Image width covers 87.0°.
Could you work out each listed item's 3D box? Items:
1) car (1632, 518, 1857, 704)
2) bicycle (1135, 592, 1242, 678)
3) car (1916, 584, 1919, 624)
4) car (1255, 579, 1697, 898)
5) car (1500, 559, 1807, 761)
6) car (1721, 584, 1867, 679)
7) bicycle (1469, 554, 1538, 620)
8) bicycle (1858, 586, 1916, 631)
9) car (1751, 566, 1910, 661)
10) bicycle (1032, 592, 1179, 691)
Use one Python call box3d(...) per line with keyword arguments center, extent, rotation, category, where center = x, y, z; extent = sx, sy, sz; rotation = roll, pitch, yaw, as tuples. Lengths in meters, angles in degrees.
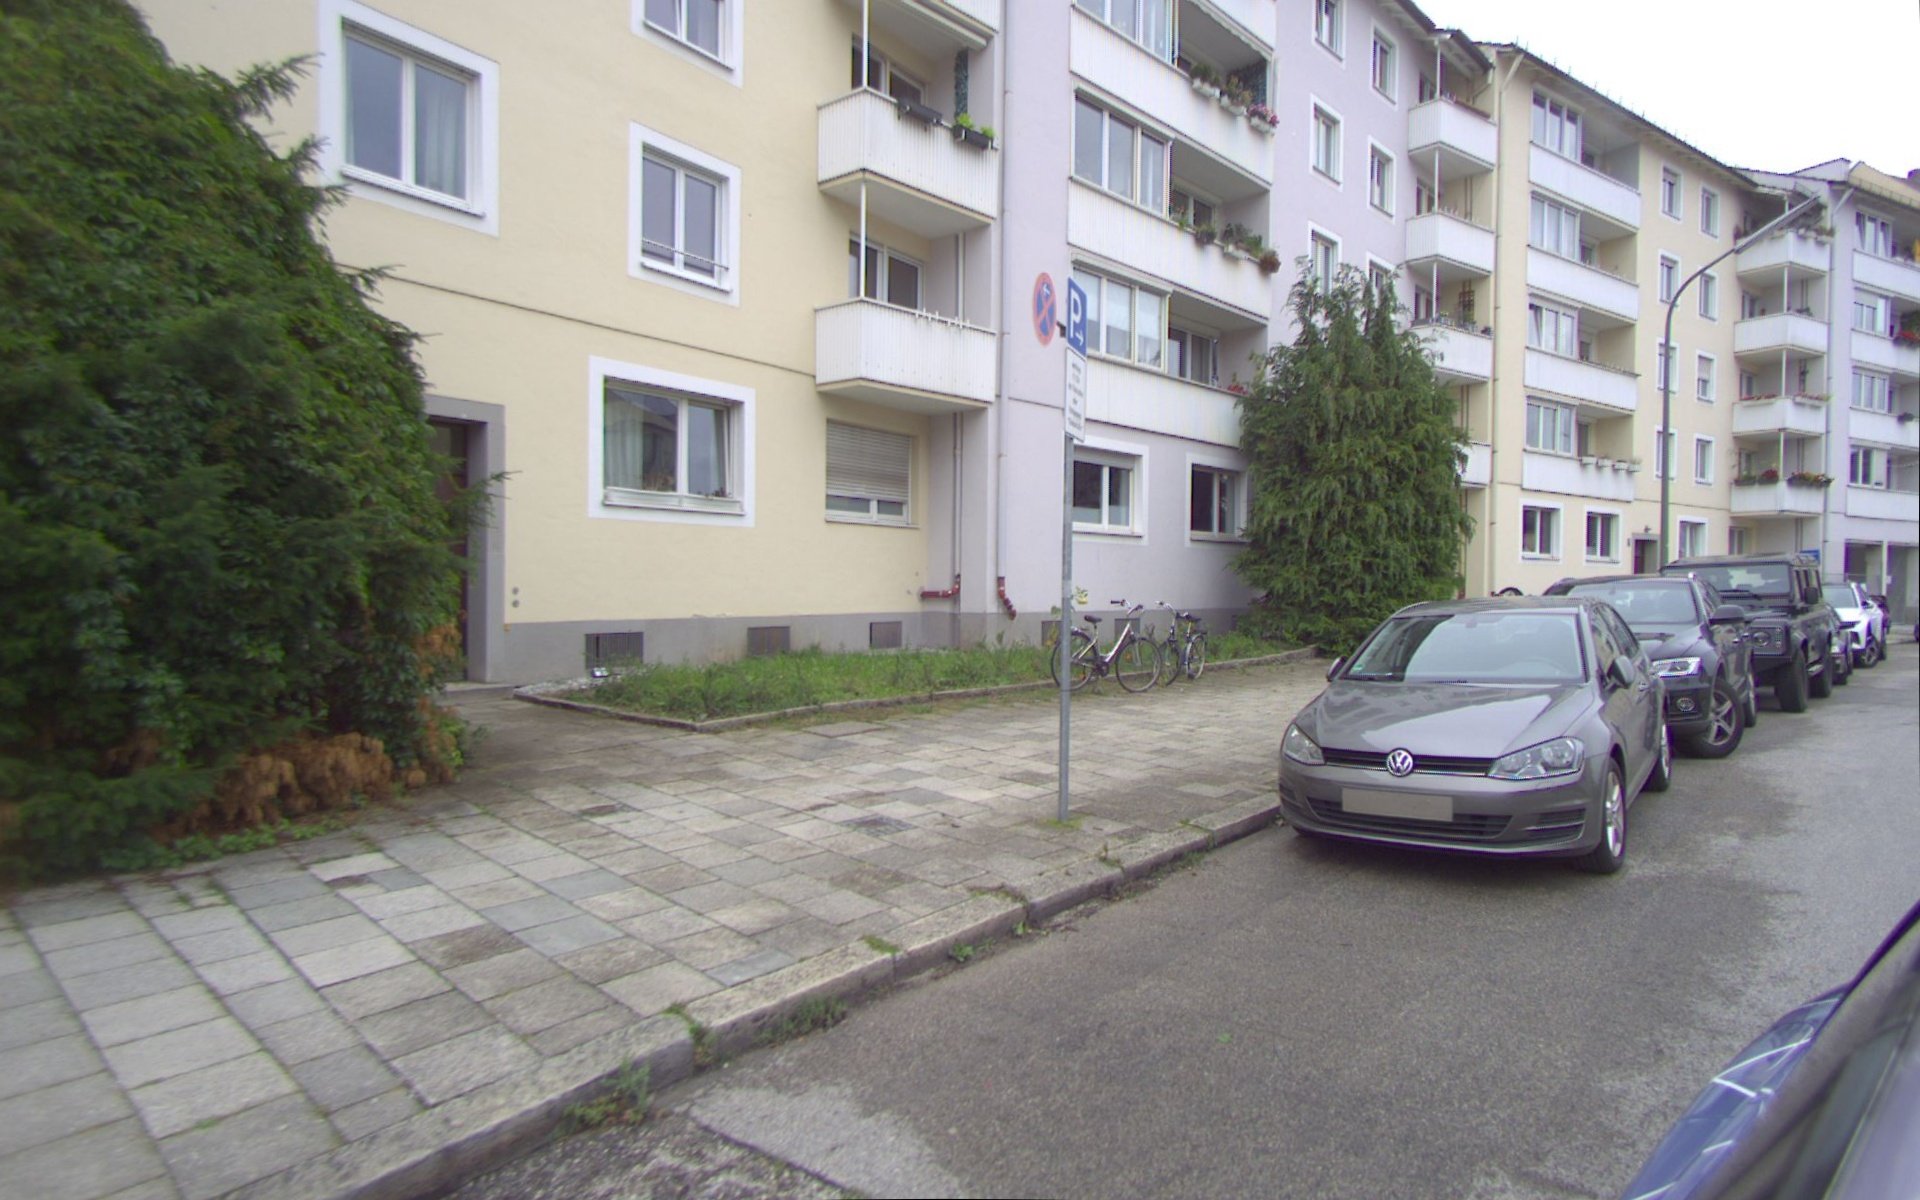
box3d(center=(10.700, 0.142, 13.675), extent=(4.440, 2.108, 1.749), rotation=(0, -1, -44), category="car")
box3d(center=(3.233, 0.458, 14.220), extent=(1.912, 1.131, 0.467), rotation=(0, 2, -44), category="bicycle")
box3d(center=(29.672, 0.222, 29.345), extent=(4.540, 1.461, 1.836), rotation=(0, -4, -35), category="car")
box3d(center=(3.633, 0.608, 6.716), extent=(1.752, 1.414, 3.987), rotation=(-1, 1, 40), category="car")
box3d(center=(7.053, 0.444, 10.089), extent=(4.440, 1.585, 1.659), rotation=(-1, 0, -44), category="car")
box3d(center=(14.032, 0.447, 16.957), extent=(1.658, 1.366, 3.746), rotation=(-1, 1, 43), category="car")
box3d(center=(12.334, -0.315, 22.924), extent=(0.742, 1.384, 2.433), rotation=(5, 4, 42), category="bicycle")
box3d(center=(29.703, 0.236, 32.407), extent=(2.723, 1.339, 0.812), rotation=(-1, 3, -37), category="bicycle")
box3d(center=(17.733, 0.264, 20.541), extent=(4.536, 1.699, 2.027), rotation=(0, -1, -44), category="car")
box3d(center=(1.801, 0.481, 12.385), extent=(1.906, 1.131, 0.469), rotation=(0, 2, -32), category="bicycle")
